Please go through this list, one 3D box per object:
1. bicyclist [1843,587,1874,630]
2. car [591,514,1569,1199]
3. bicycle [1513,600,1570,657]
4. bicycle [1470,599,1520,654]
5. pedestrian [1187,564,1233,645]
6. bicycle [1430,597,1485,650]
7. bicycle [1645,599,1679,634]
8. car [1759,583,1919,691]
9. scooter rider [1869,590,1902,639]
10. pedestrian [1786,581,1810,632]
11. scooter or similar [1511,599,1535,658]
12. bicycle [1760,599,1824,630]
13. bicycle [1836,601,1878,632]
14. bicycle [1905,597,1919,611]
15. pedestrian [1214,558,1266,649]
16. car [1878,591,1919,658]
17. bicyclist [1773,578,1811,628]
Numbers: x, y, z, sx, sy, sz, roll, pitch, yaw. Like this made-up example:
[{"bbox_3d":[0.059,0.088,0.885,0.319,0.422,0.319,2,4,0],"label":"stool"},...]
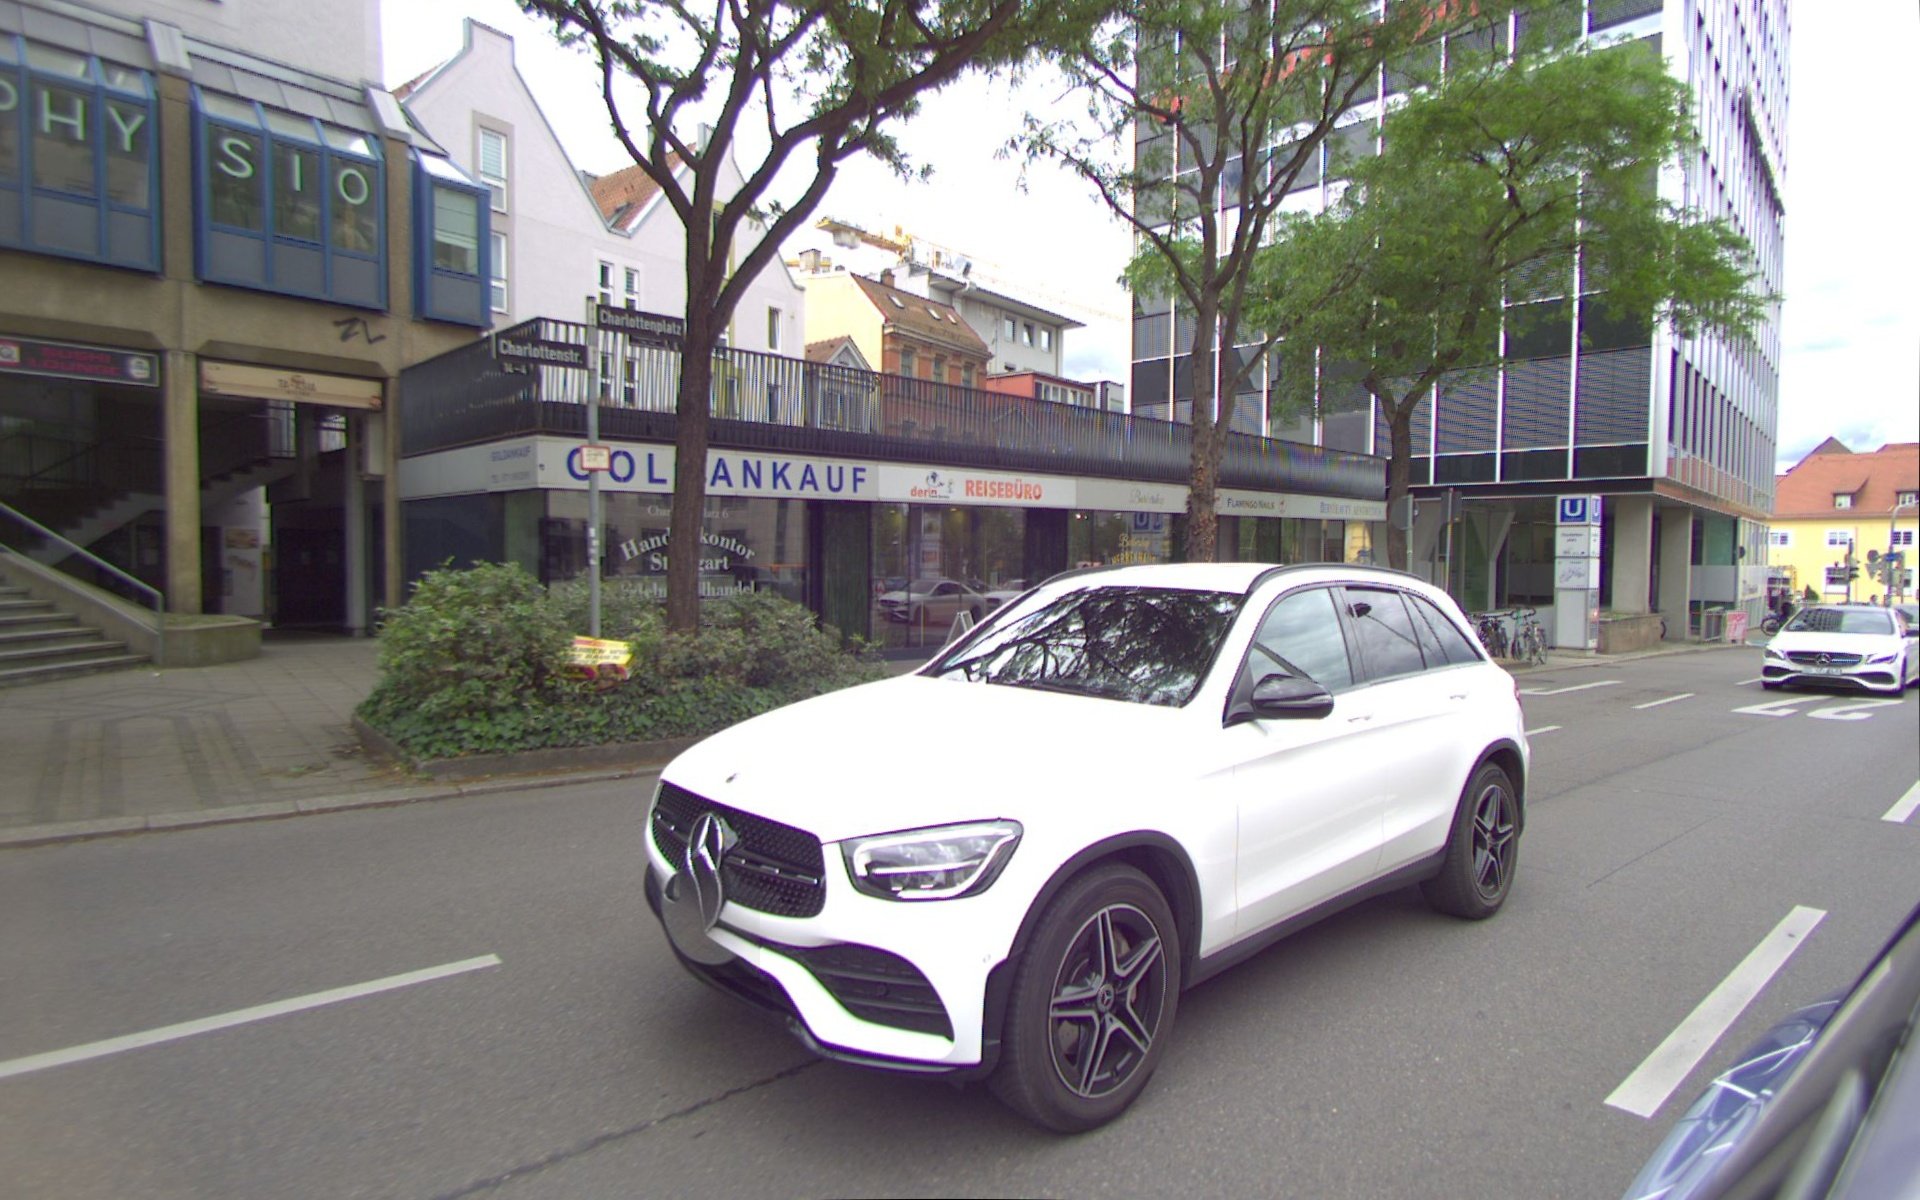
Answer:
[{"bbox_3d":[34.442,0.320,38.799,0.558,1.568,0.841,2,3,20],"label":"bicyclist"},{"bbox_3d":[0.867,0.564,4.366,4.260,1.666,1.805,-1,4,-42],"label":"car"},{"bbox_3d":[12.477,0.597,21.694,1.812,1.146,0.490,0,2,-42],"label":"bicycle"},{"bbox_3d":[11.911,0.561,22.495,0.489,1.146,1.858,2,2,43],"label":"bicycle"},{"bbox_3d":[5.201,0.082,21.041,0.596,1.649,0.745,3,2,44],"label":"pedestrian"},{"bbox_3d":[11.466,0.519,23.290,1.659,1.146,0.490,0,2,-40],"label":"bicycle"},{"bbox_3d":[22.782,0.531,32.848,0.708,1.061,1.472,2,2,28],"label":"bicycle"},{"bbox_3d":[15.212,0.533,17.131,4.571,1.589,1.868,0,1,-42],"label":"car"},{"bbox_3d":[35.677,0.556,39.034,0.583,1.830,0.642,2,2,8],"label":"scooter rider"},{"bbox_3d":[29.527,0.232,35.655,0.525,1.732,0.741,4,5,44],"label":"pedestrian"},{"bbox_3d":[12.450,0.617,22.370,0.305,1.267,0.984,2,2,36],"label":"scooter or similar"},{"bbox_3d":[32.132,0.548,39.112,0.666,1.019,1.772,3,2,-15],"label":"bicycle"},{"bbox_3d":[34.472,0.622,38.911,0.574,1.039,1.659,2,3,20],"label":"bicycle"},{"bbox_3d":[76.395,0.361,80.410,0.609,1.099,1.774,1,2,-31],"label":"bicycle"},{"bbox_3d":[5.680,0.062,20.519,0.595,1.775,0.926,3,2,43],"label":"pedestrian"},{"bbox_3d":[24.288,0.609,25.062,3.695,1.551,1.708,0,2,-39],"label":"car"},{"bbox_3d":[32.115,0.118,39.086,0.661,1.868,0.816,1,3,-13],"label":"bicyclist"}]
